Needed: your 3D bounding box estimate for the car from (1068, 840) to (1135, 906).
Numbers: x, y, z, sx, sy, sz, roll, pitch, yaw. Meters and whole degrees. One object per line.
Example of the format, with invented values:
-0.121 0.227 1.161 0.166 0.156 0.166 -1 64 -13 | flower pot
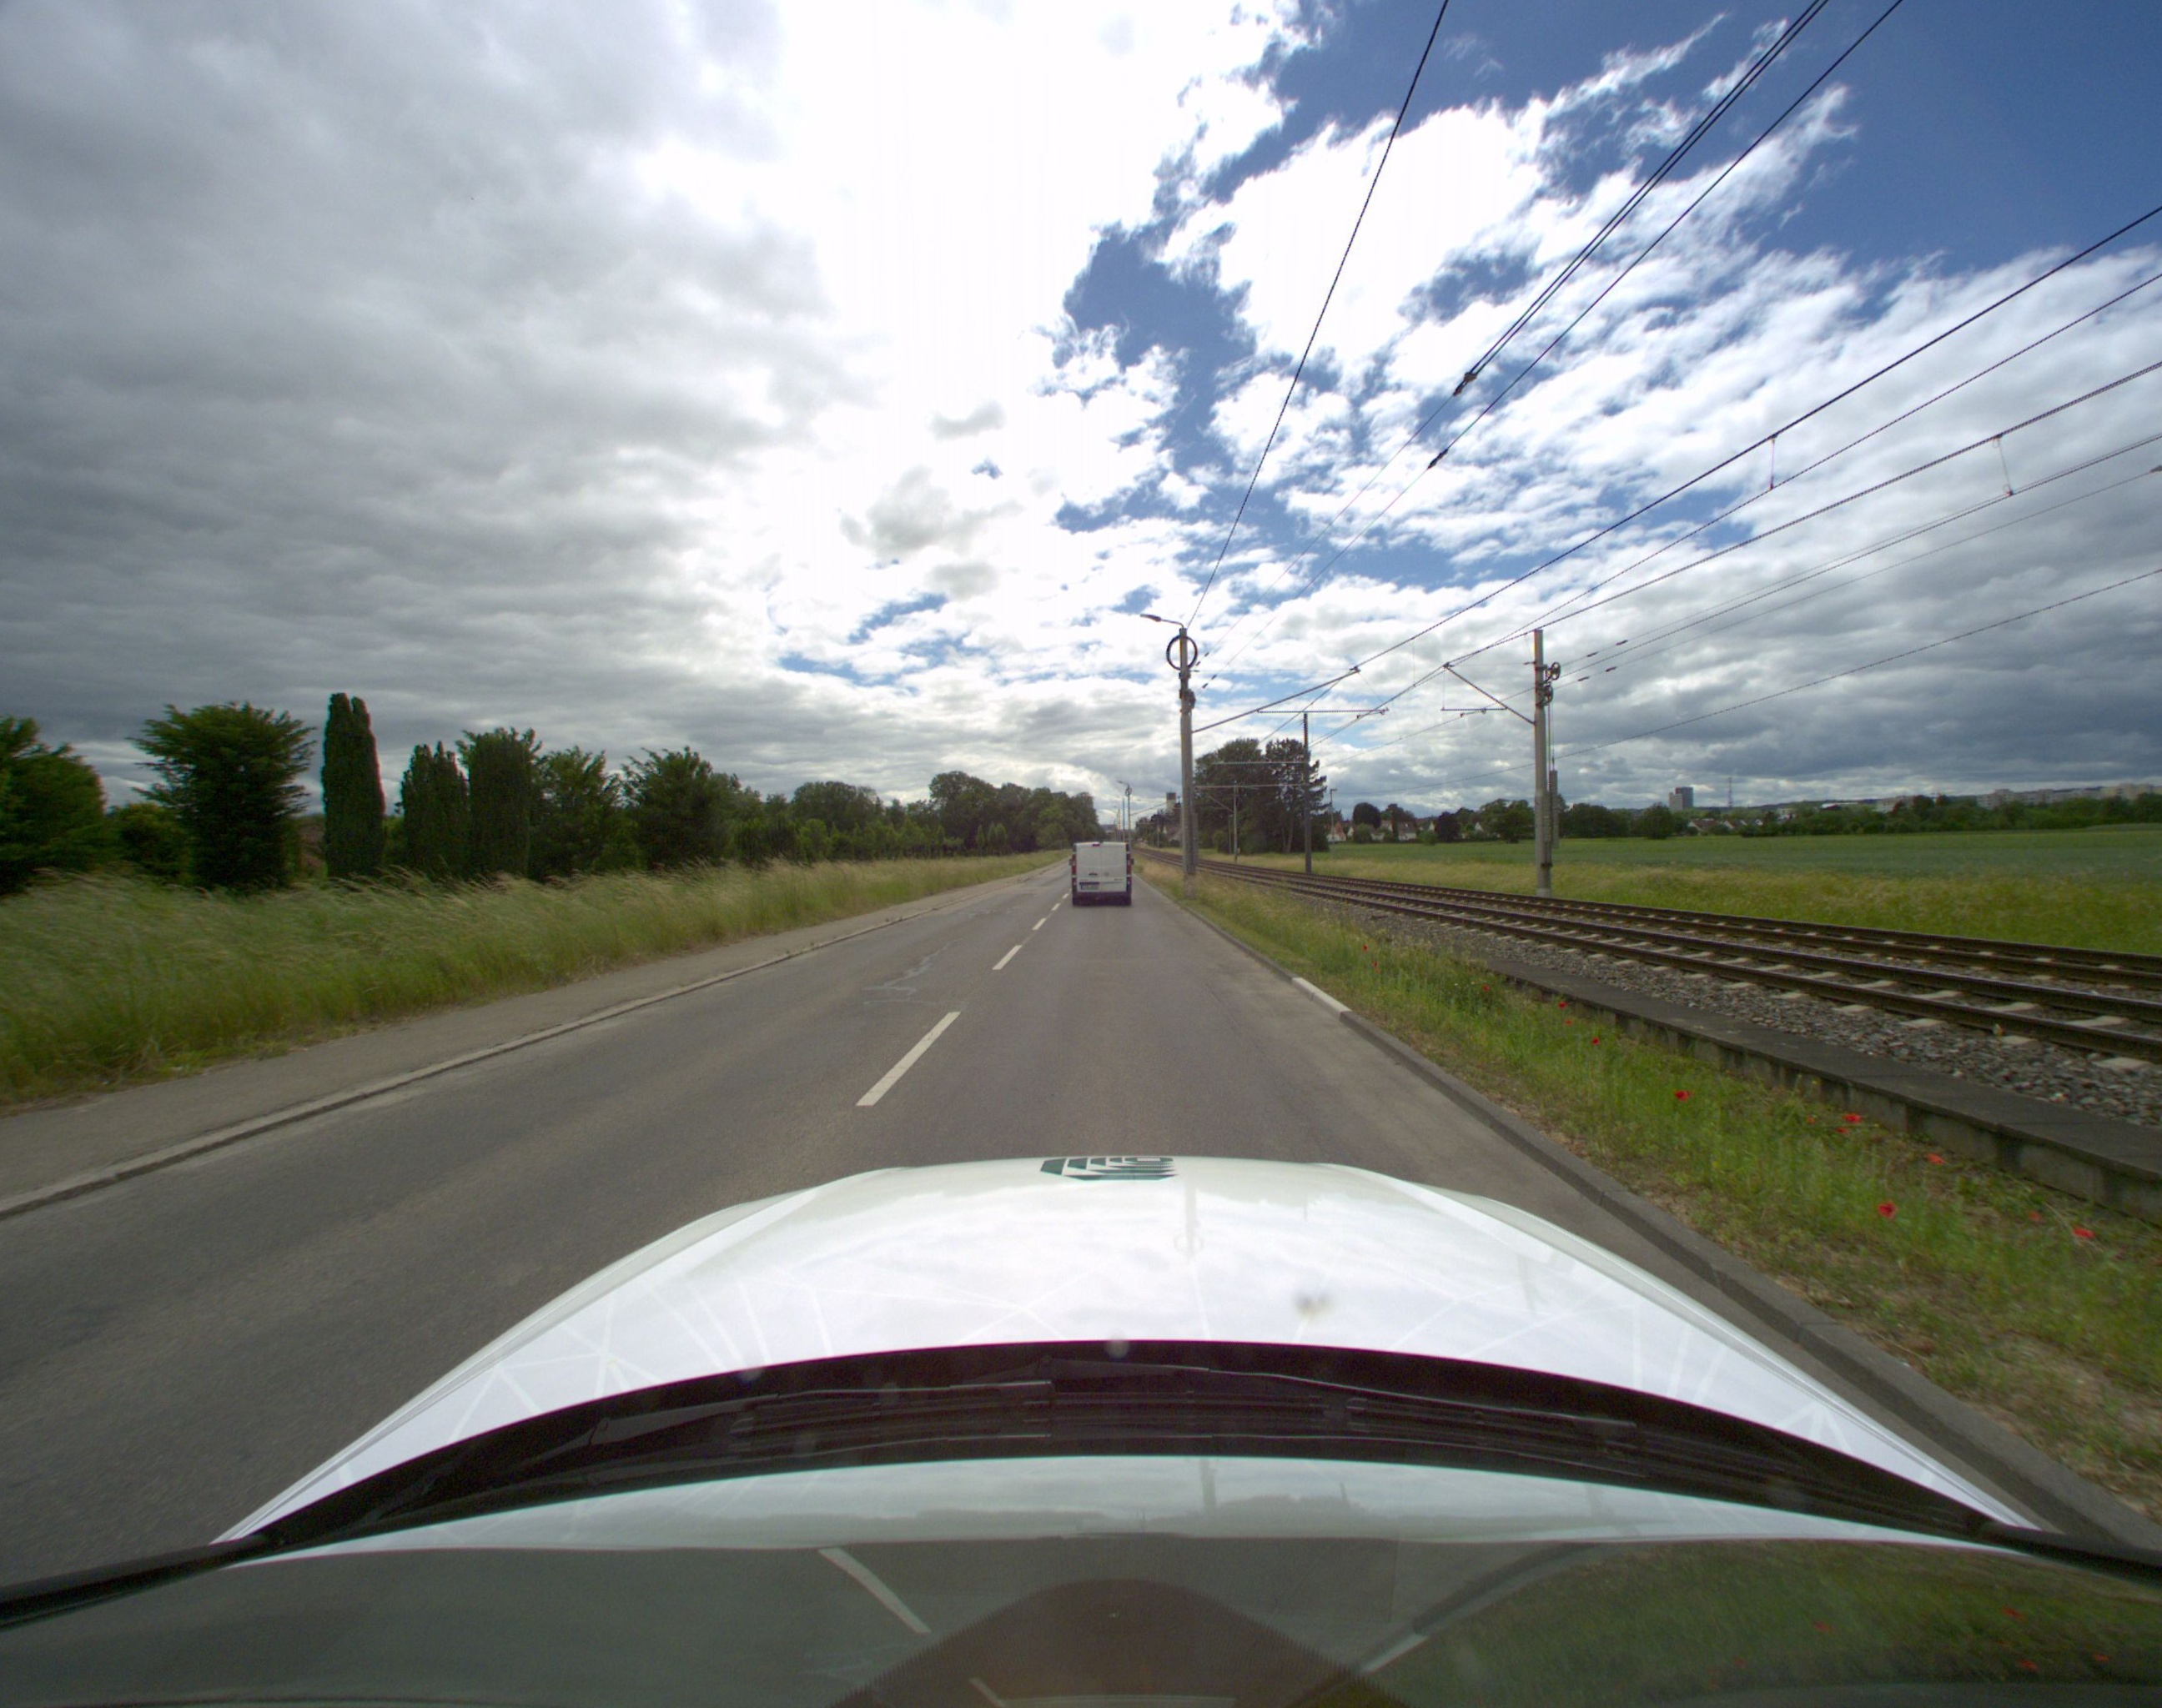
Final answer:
0.631 0.575 26.284 1.987 1.957 4.000 -1 0 1 | car
